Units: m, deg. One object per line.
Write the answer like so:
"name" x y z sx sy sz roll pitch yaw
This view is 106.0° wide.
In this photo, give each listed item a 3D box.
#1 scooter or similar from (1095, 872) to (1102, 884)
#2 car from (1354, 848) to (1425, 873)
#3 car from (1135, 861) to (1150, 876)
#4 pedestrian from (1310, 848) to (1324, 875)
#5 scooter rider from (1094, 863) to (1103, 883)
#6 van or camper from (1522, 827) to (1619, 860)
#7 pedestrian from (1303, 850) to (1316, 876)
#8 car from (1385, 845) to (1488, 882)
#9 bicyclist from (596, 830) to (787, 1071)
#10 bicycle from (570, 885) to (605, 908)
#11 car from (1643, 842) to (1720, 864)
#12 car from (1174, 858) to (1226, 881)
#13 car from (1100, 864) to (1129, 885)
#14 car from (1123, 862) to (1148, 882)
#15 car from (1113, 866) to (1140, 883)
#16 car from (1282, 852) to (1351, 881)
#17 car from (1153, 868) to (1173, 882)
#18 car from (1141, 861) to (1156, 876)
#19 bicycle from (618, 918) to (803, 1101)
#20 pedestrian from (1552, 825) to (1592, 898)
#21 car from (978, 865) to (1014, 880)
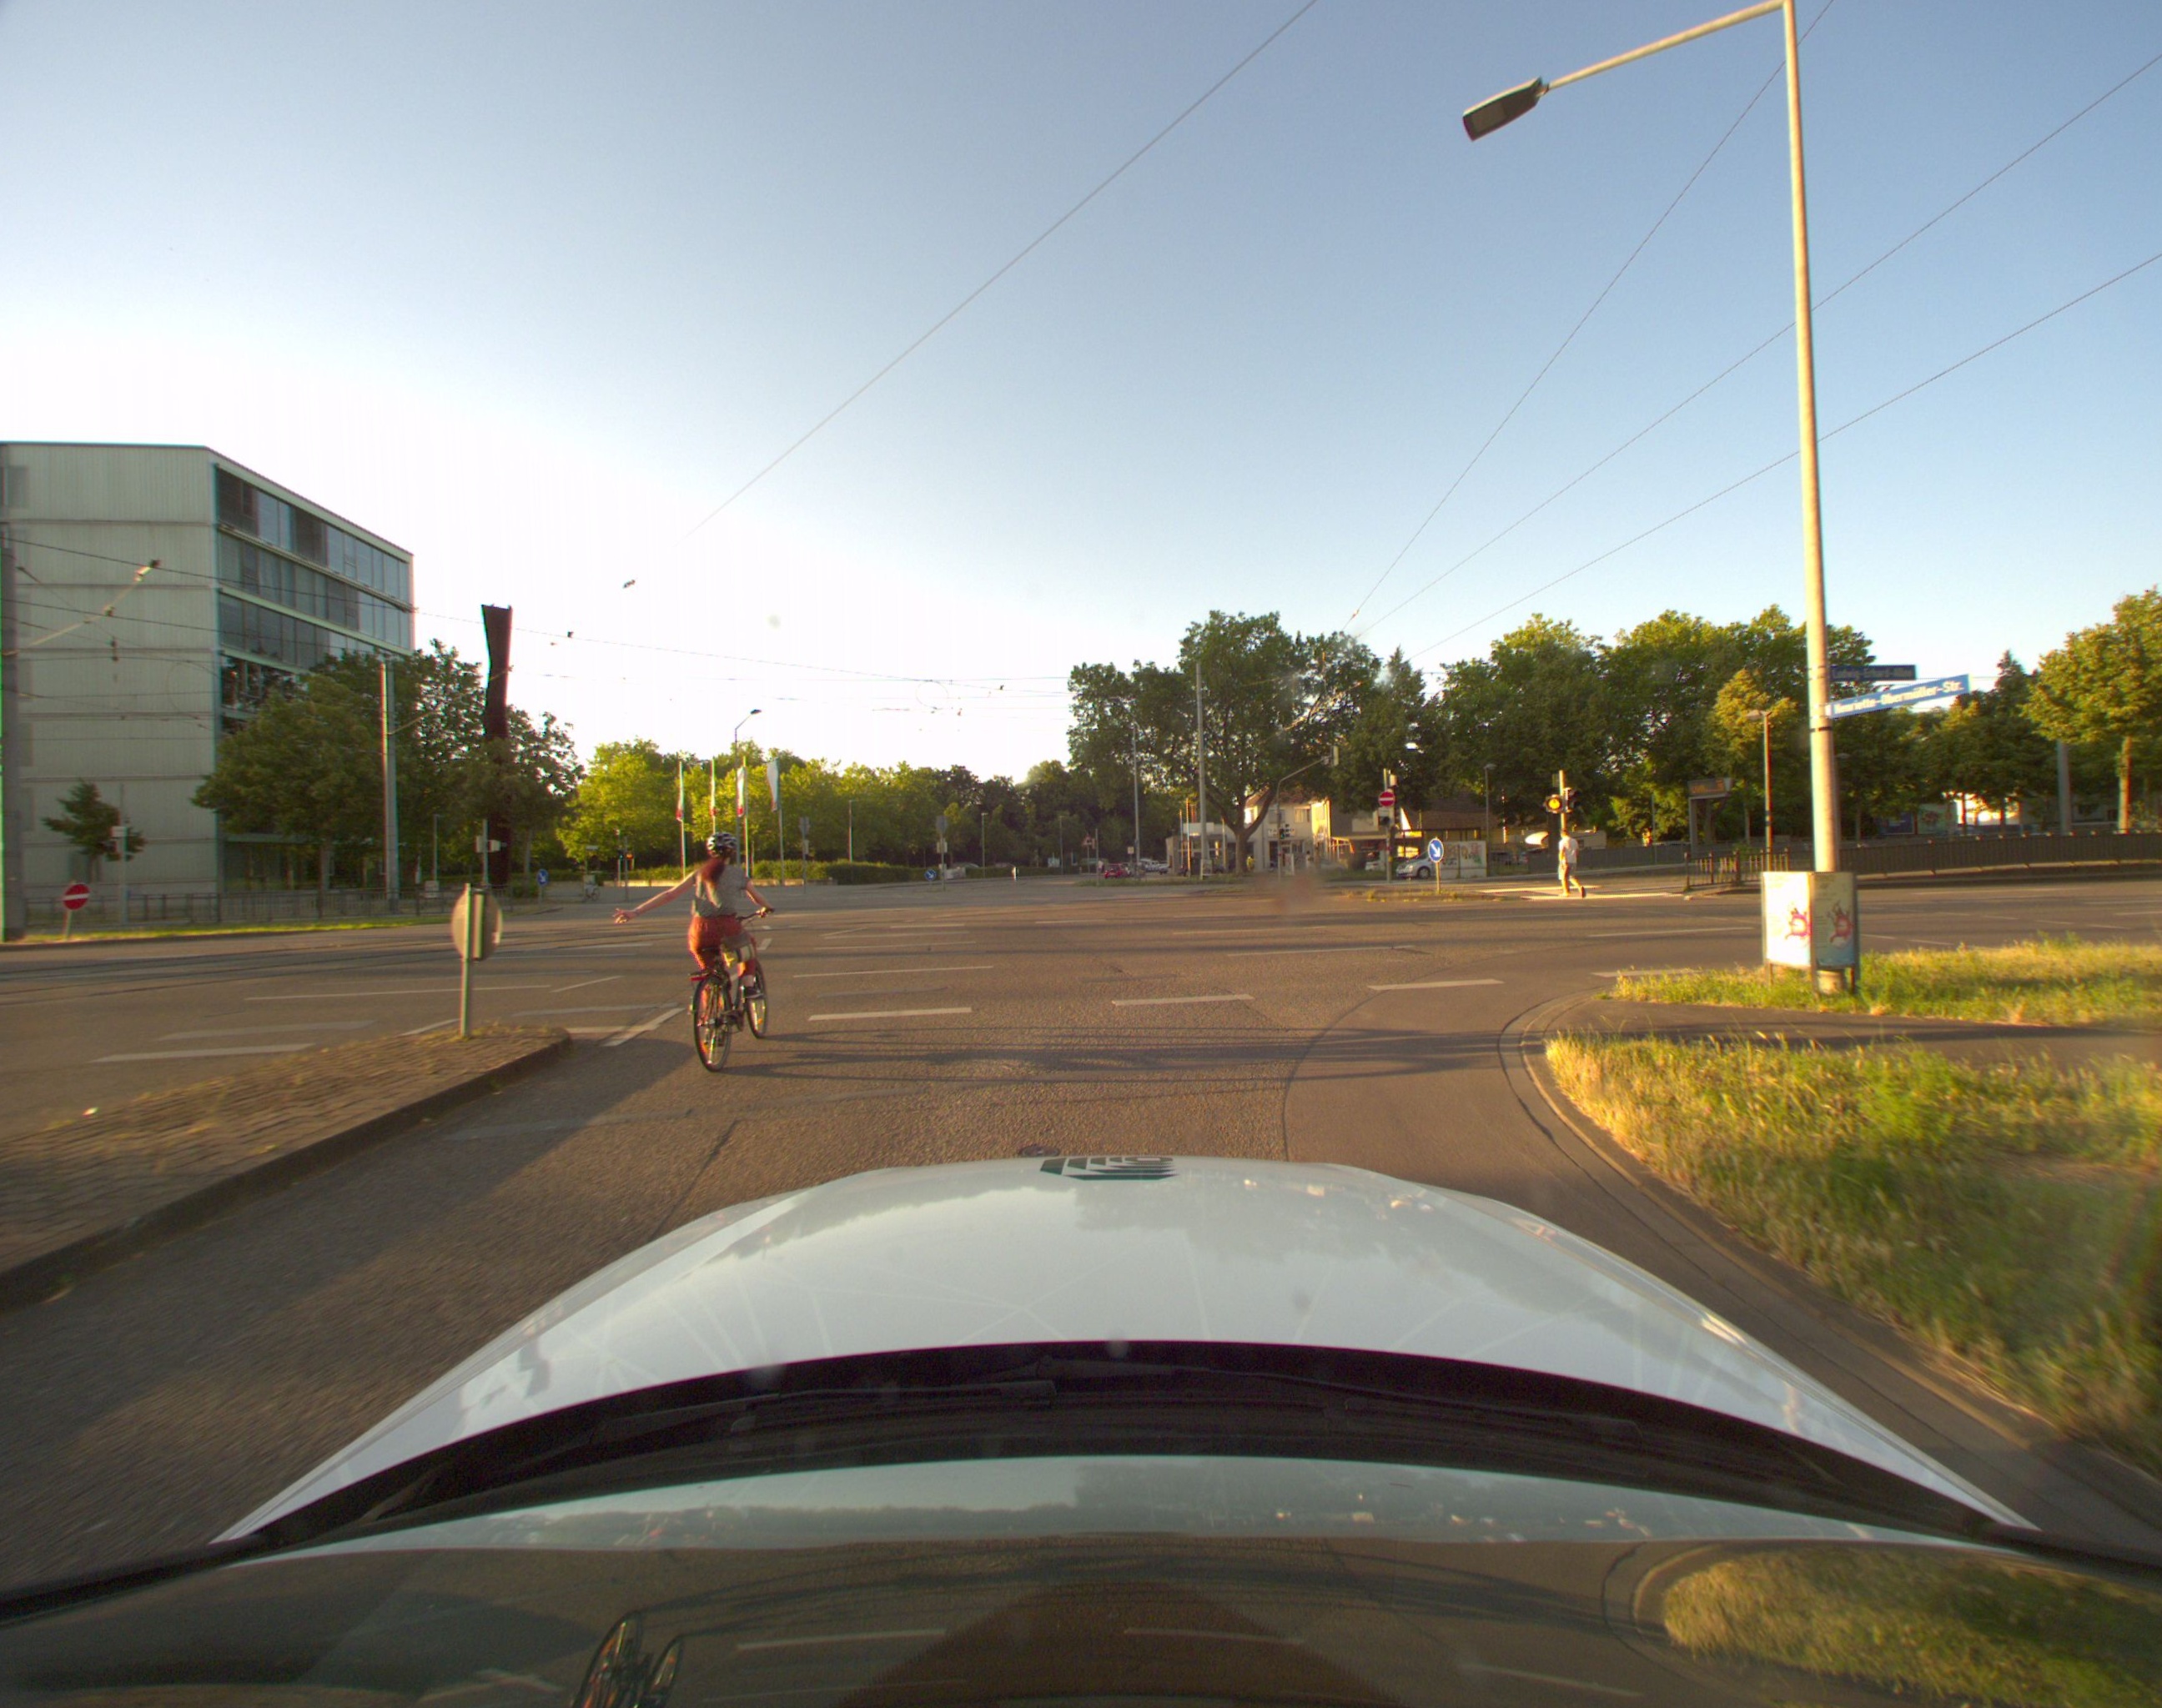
"scooter or similar" 1.673 2.303 79.175 0.509 1.090 1.241 -2 -1 -4
"car" 21.573 0.489 57.089 4.219 1.577 1.998 -2 -1 -2
"car" 8.666 2.013 115.323 1.985 2.014 4.003 -2 -1 3
"pedestrian" 15.351 0.501 52.976 0.712 1.754 0.902 -2 -1 20
"scooter rider" 1.683 1.867 79.165 0.701 1.855 0.668 -2 -2 -5
"van or camper" 39.908 -0.848 66.516 6.543 2.410 2.263 -2 -2 -1
"pedestrian" 15.187 0.591 54.031 0.712 1.639 0.902 -2 -1 20
"car" 18.179 0.493 41.693 4.532 1.728 1.856 -2 -1 -9
"bicyclist" -3.020 0.703 6.439 1.030 1.718 0.994 -2 -1 -5
"bicycle" -26.797 2.281 44.236 0.698 1.136 2.386 -2 -1 -7
"car" 43.905 -0.063 59.596 4.219 1.465 1.998 -2 -1 -2
"car" 10.689 1.388 73.200 4.362 1.835 1.949 -2 -1 0
"car" 3.310 1.955 79.319 1.854 1.875 3.891 -2 -1 17
"car" 5.835 1.888 87.160 1.901 2.047 4.015 -2 -1 13
"car" 4.671 2.111 83.229 1.979 1.574 4.016 -2 -1 15
"car" 16.515 0.860 57.179 4.219 1.846 1.998 -2 -1 -2
"car" 10.014 2.579 99.149 1.901 1.603 4.015 -2 -1 13
"car" 9.935 2.107 120.014 1.985 2.014 4.003 -2 -1 3
"bicycle" -2.841 1.121 6.518 0.633 1.068 2.119 -2 -1 -4
"pedestrian" 12.374 0.197 20.555 0.754 1.791 0.807 -1 -1 26
"car" -9.580 2.128 92.083 3.978 1.561 1.998 -2 -1 -3
